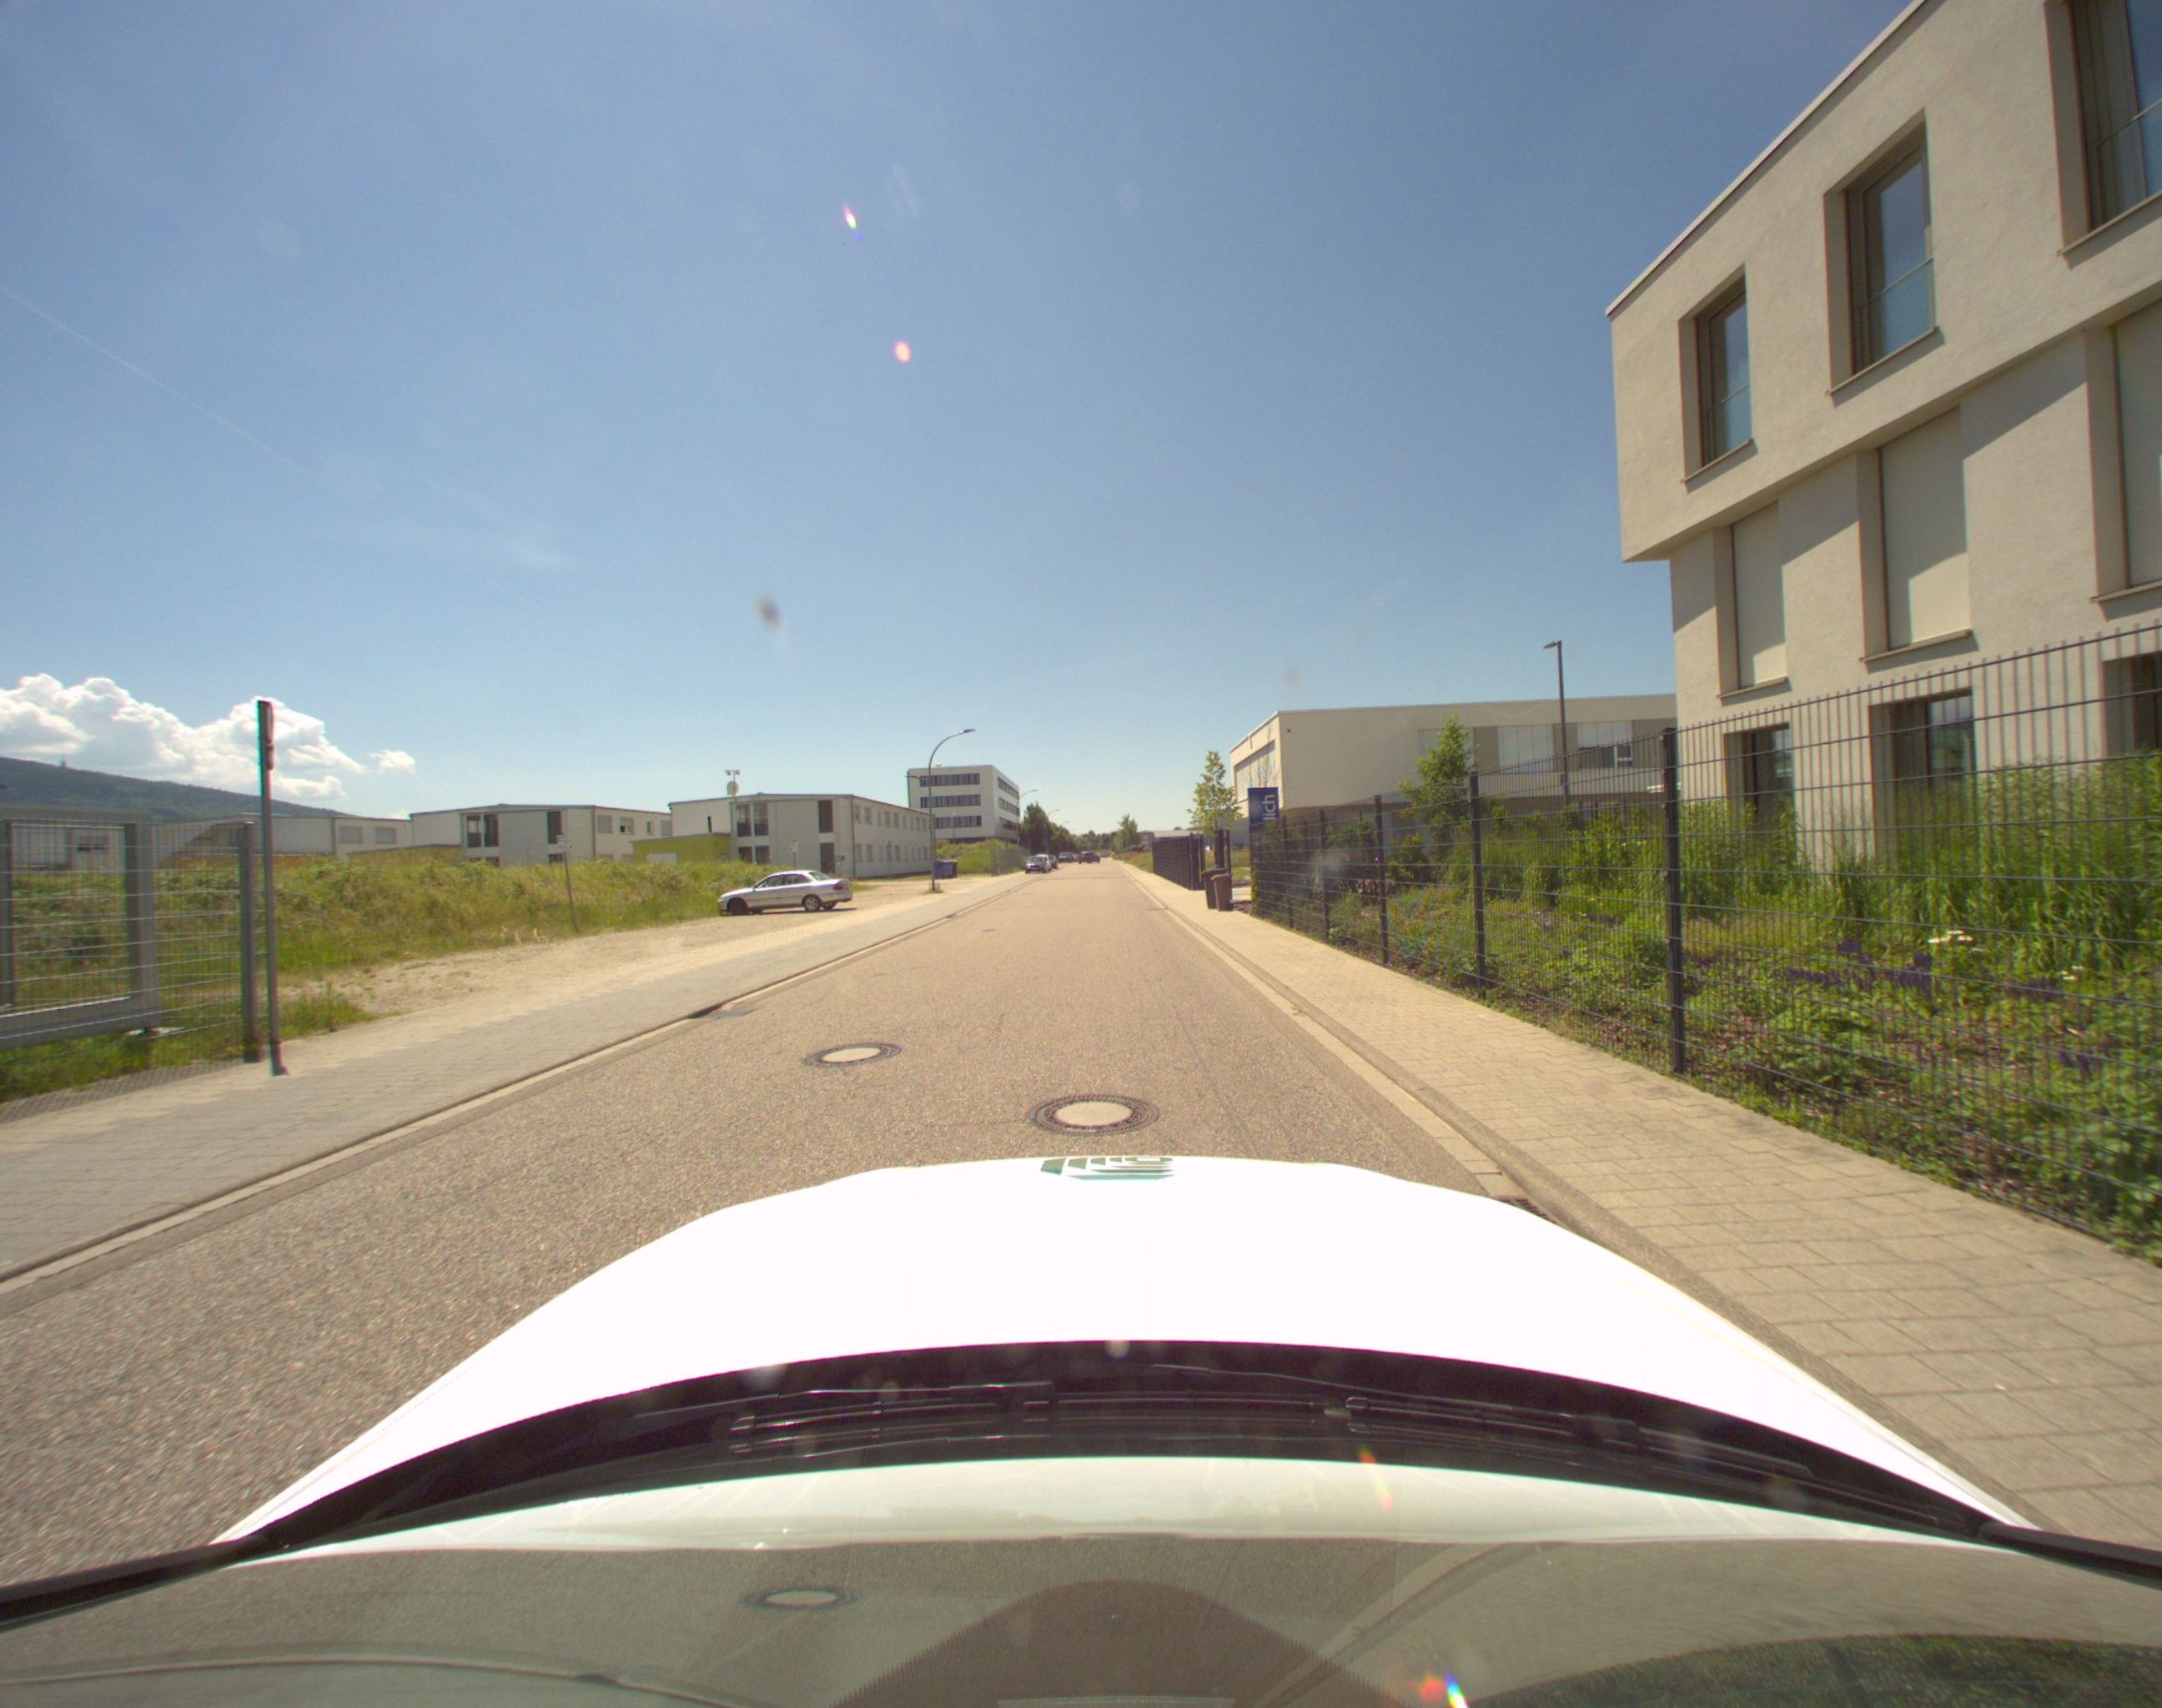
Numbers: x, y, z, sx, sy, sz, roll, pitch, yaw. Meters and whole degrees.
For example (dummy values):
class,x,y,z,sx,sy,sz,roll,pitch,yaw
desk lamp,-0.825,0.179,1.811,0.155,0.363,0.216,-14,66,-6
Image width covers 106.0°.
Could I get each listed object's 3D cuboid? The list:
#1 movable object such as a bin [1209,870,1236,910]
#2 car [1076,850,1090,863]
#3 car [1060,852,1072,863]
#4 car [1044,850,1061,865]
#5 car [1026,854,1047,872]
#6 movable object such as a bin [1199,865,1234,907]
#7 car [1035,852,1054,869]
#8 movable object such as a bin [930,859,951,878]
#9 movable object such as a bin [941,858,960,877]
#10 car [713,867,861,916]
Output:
class,x,y,z,sx,sy,sz,roll,pitch,yaw
movable object such as a bin,3.645,0.918,21.041,0.549,0.928,0.522,-7,1,5
car,0.264,0.347,109.956,1.819,1.642,3.208,-2,0,2
car,-2.313,0.540,123.983,1.638,1.489,3.208,-2,0,2
car,-2.981,0.389,84.883,1.461,1.489,3.208,-2,0,2
car,-3.758,0.753,69.000,1.461,1.489,3.208,-2,0,2
movable object such as a bin,3.658,0.861,22.024,0.775,1.019,0.666,-7,1,5
car,-3.398,0.598,75.991,1.461,1.489,3.208,-2,0,2
movable object such as a bin,-10.813,1.110,62.840,1.282,1.412,1.805,-2,0,-3
movable object such as a bin,-10.634,1.083,66.429,1.282,1.412,1.805,-2,0,-3
car,-9.962,1.243,27.841,4.262,1.364,1.898,-3,0,1
